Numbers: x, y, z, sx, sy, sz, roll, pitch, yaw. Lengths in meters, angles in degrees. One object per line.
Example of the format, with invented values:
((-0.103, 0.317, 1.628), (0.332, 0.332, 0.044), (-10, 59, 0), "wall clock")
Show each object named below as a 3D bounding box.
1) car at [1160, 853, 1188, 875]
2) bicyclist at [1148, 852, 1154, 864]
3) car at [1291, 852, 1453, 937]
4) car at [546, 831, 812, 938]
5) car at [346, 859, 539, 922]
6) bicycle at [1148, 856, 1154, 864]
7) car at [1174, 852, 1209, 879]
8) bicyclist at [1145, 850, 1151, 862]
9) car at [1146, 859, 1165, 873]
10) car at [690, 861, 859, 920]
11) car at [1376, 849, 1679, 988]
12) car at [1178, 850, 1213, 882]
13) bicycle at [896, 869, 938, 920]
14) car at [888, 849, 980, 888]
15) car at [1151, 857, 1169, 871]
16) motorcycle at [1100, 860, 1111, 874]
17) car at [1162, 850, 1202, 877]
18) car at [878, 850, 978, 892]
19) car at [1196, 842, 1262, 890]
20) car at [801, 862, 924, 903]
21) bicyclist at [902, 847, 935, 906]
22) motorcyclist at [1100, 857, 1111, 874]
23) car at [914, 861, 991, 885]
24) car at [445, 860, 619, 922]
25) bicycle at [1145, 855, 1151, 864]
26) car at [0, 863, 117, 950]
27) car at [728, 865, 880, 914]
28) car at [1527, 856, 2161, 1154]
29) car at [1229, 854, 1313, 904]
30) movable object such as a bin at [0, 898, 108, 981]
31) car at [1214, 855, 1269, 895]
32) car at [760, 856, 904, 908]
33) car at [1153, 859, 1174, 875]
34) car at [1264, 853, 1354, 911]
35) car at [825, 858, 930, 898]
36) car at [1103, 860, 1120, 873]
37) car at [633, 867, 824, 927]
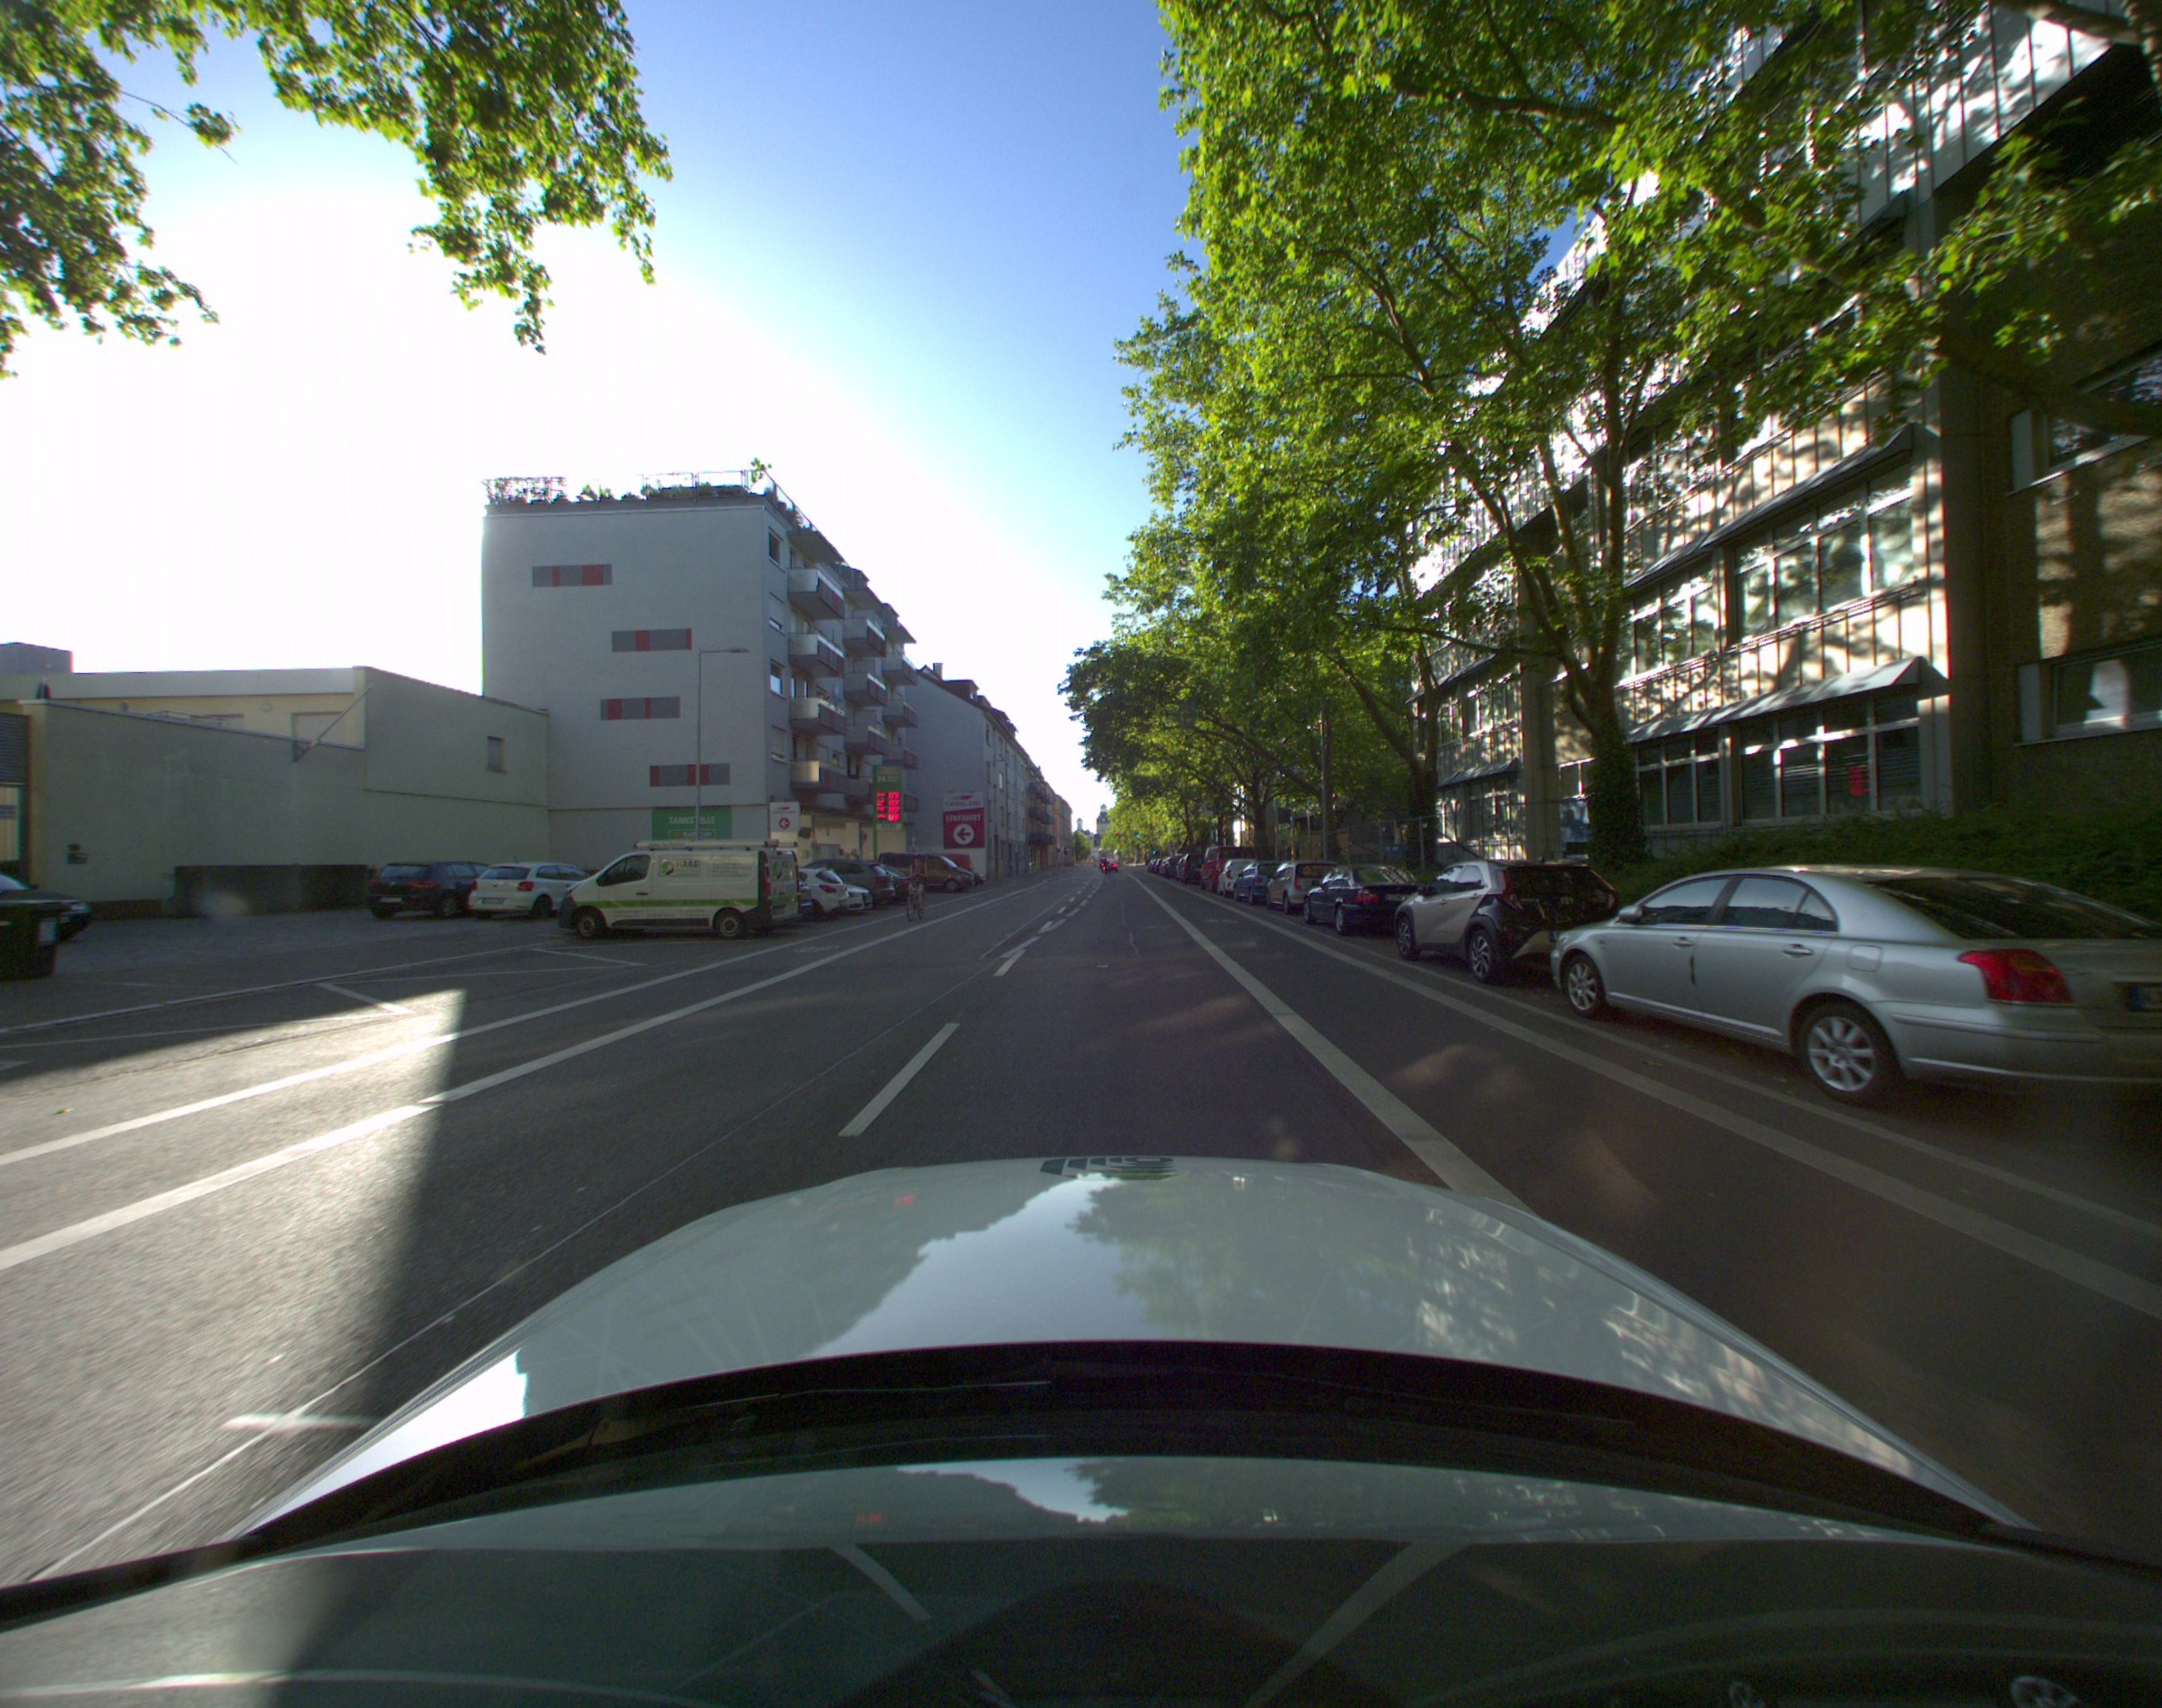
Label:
((7.370, 0.792, 64.927), (1.770, 1.628, 4.620), (1, -1, 0), "car")
((9.298, 0.498, 108.394), (0.654, 1.530, 0.906), (0, -1, 1), "bicyclist")
((5.883, 0.747, 17.102), (1.848, 1.522, 4.600), (0, 0, 1), "car")
((-8.833, 0.653, 18.243), (4.826, 2.217, 2.140), (0, -1, 1), "car")
((-16.562, 0.874, 21.431), (1.783, 1.464, 4.002), (1, 0, 2), "car")
((9.294, 0.831, 108.279), (0.653, 1.111, 2.186), (0, -1, 1), "bicycle")
((7.117, 0.739, 52.713), (1.687, 1.628, 4.329), (1, -1, 0), "car")
((8.191, 0.270, 99.833), (0.654, 1.530, 0.852), (0, -1, 1), "bicyclist")
((8.274, 1.323, 90.404), (1.687, 1.449, 4.435), (1, -1, 0), "car")
((-8.484, 0.978, 22.786), (3.972, 1.559, 1.853), (0, 0, 1), "car")
((5.666, 0.719, 11.077), (1.848, 1.523, 4.298), (0, 0, 1), "car")
((6.708, 0.705, 48.116), (1.686, 1.813, 4.133), (1, -1, 3), "car")
((-4.437, 1.060, 22.139), (0.604, 1.239, 2.050), (-3, 0, 2), "bicycle")
((-7.805, 0.762, 43.447), (4.404, 1.952, 2.147), (1, 0, 2), "car")
((8.170, 1.053, 84.870), (1.686, 1.466, 4.068), (1, -1, 3), "car")
((2.400, 1.300, 79.900), (1.008, 1.306, 2.673), (-2, -1, 1), "motorcycle")
((7.308, 0.672, 59.491), (1.822, 1.841, 4.888), (1, -1, -6), "car")
((-7.563, 0.818, 40.643), (4.505, 1.952, 2.057), (1, 0, 2), "car")
((6.589, 0.527, 36.834), (2.071, 1.994, 5.170), (0, -1, 0), "car")
((-8.038, 1.031, 30.203), (3.972, 1.456, 1.917), (0, -1, 1), "car")
((-4.461, 0.601, 22.379), (0.604, 1.545, 0.934), (-3, 0, 2), "bicyclist")
((2.392, 1.106, 79.901), (1.008, 1.602, 1.406), (-2, -1, 1), "motorcyclist")
((-7.642, 1.122, 48.818), (4.212, 1.380, 2.047), (0, -1, 2), "car")
((-14.333, 0.900, 21.589), (1.783, 1.464, 4.002), (1, 0, 2), "car")
((8.192, 0.716, 99.836), (0.653, 1.070, 1.927), (0, -1, 1), "bicycle")
((-20.101, 0.886, 14.464), (3.844, 1.417, 1.892), (0, 1, 3), "car")
((-8.381, 1.056, 24.911), (3.972, 1.433, 1.853), (0, 0, 1), "car")
((5.562, 0.743, 6.234), (1.848, 1.436, 4.603), (0, 0, 1), "car")
((6.284, 0.787, 27.393), (1.849, 1.511, 3.927), (1, 0, -1), "car")
((-14.218, 1.157, 11.249), (0.526, 1.044, 0.835), (1, 0, 2), "movable object such as a bin")
((6.214, 0.787, 31.926), (1.630, 1.485, 3.763), (1, 0, 3), "car")
((-8.335, 0.923, 27.518), (4.178, 1.684, 2.029), (0, -1, 1), "car")
((8.004, 1.278, 79.244), (1.686, 1.479, 4.320), (1, -1, 2), "car")
((6.342, 0.740, 22.965), (1.608, 1.475, 3.493), (1, 0, 1), "car")
((-8.081, 0.951, 32.556), (3.672, 1.513, 1.831), (1, -1, 1), "car")
((3.446, 1.423, 92.459), (1.822, 1.420, 3.815), (-1, -1, 1), "car")
((-8.796, 1.053, 20.550), (3.972, 1.433, 1.853), (0, 0, 1), "car")
